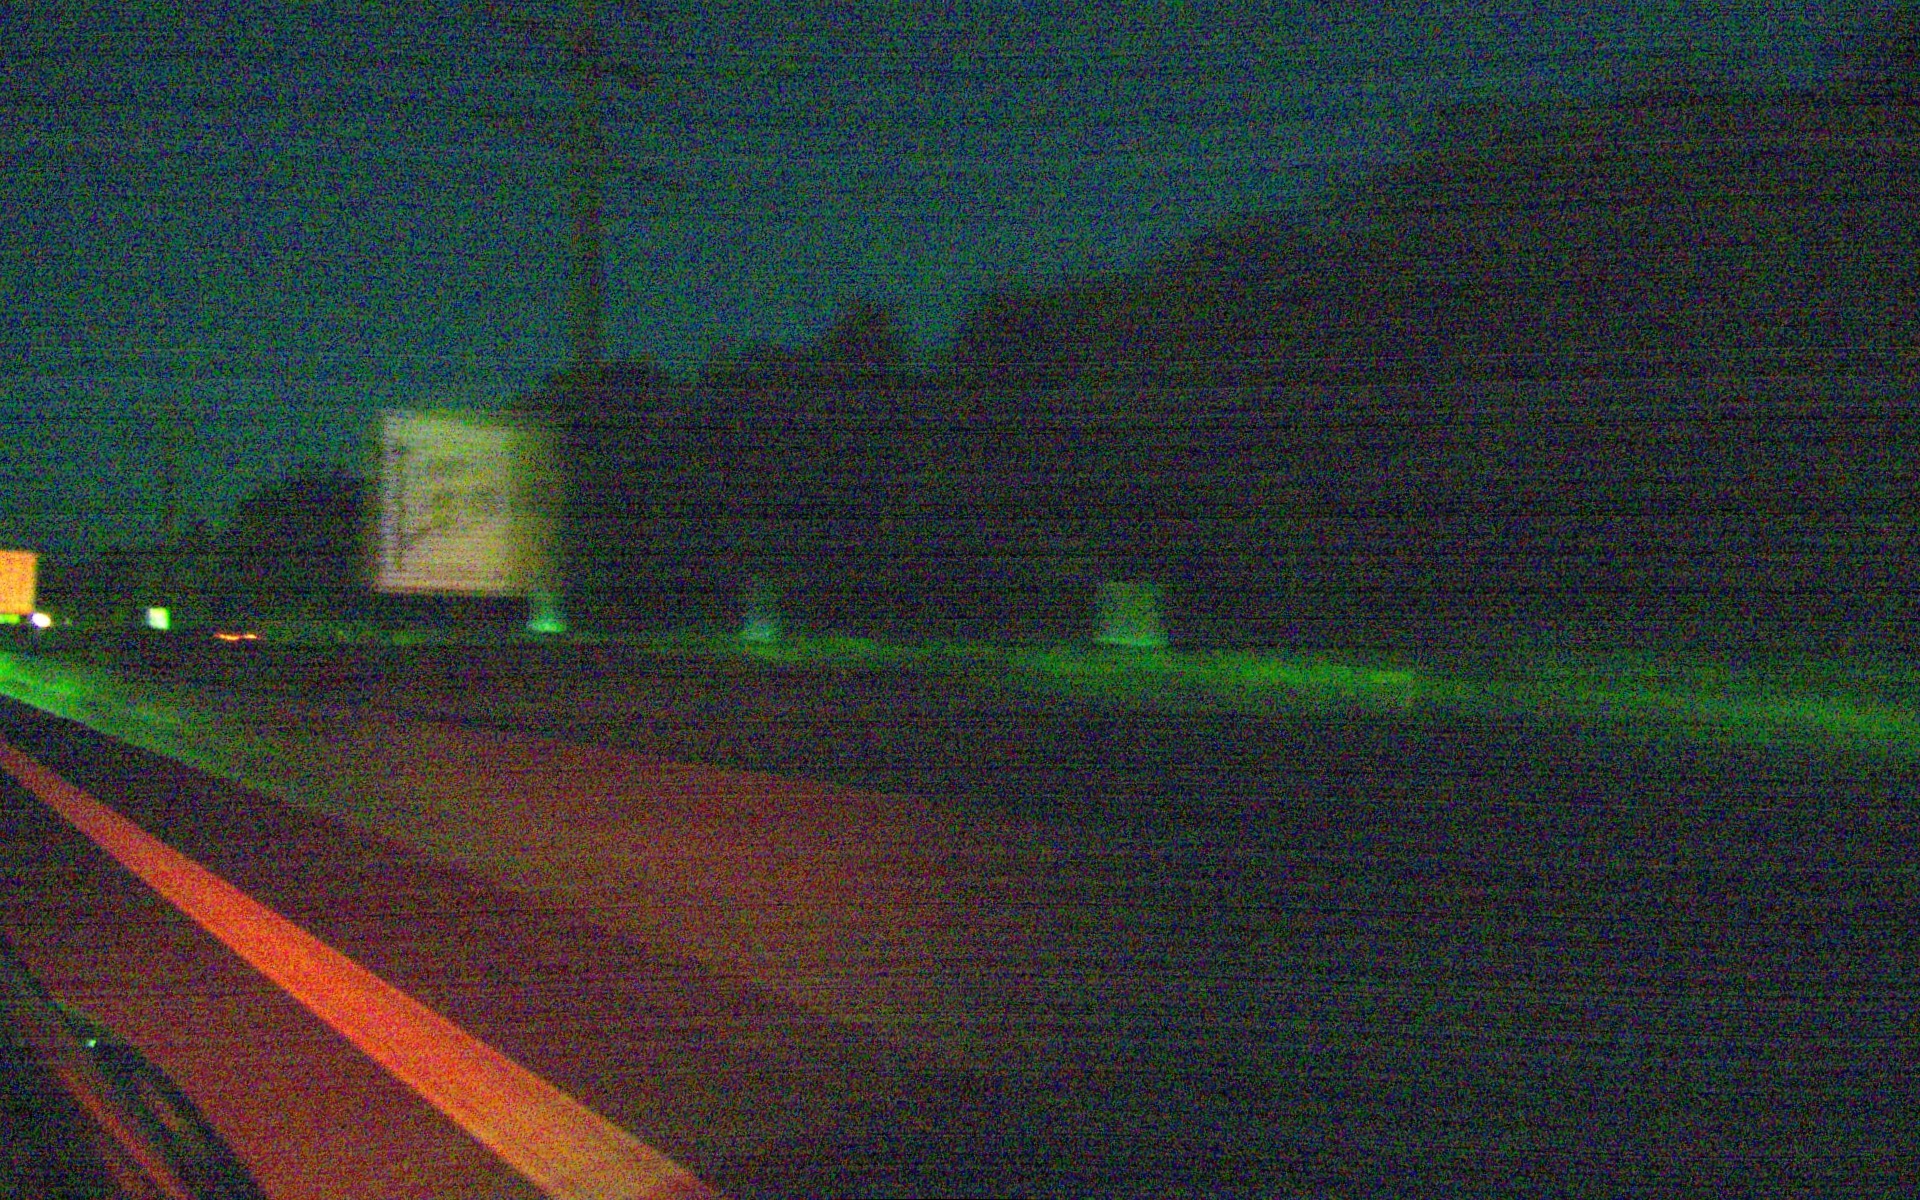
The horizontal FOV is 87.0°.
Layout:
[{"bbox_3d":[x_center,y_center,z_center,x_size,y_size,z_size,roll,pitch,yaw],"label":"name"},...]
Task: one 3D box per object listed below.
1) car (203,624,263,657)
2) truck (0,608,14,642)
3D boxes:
[{"bbox_3d":[-39.202,2.128,54.544,4.468,1.563,1.621,1,1,41],"label":"car"},{"bbox_3d":[-128.254,3.386,133.993,16.978,4.235,3.079,-3,-4,43],"label":"truck"}]
